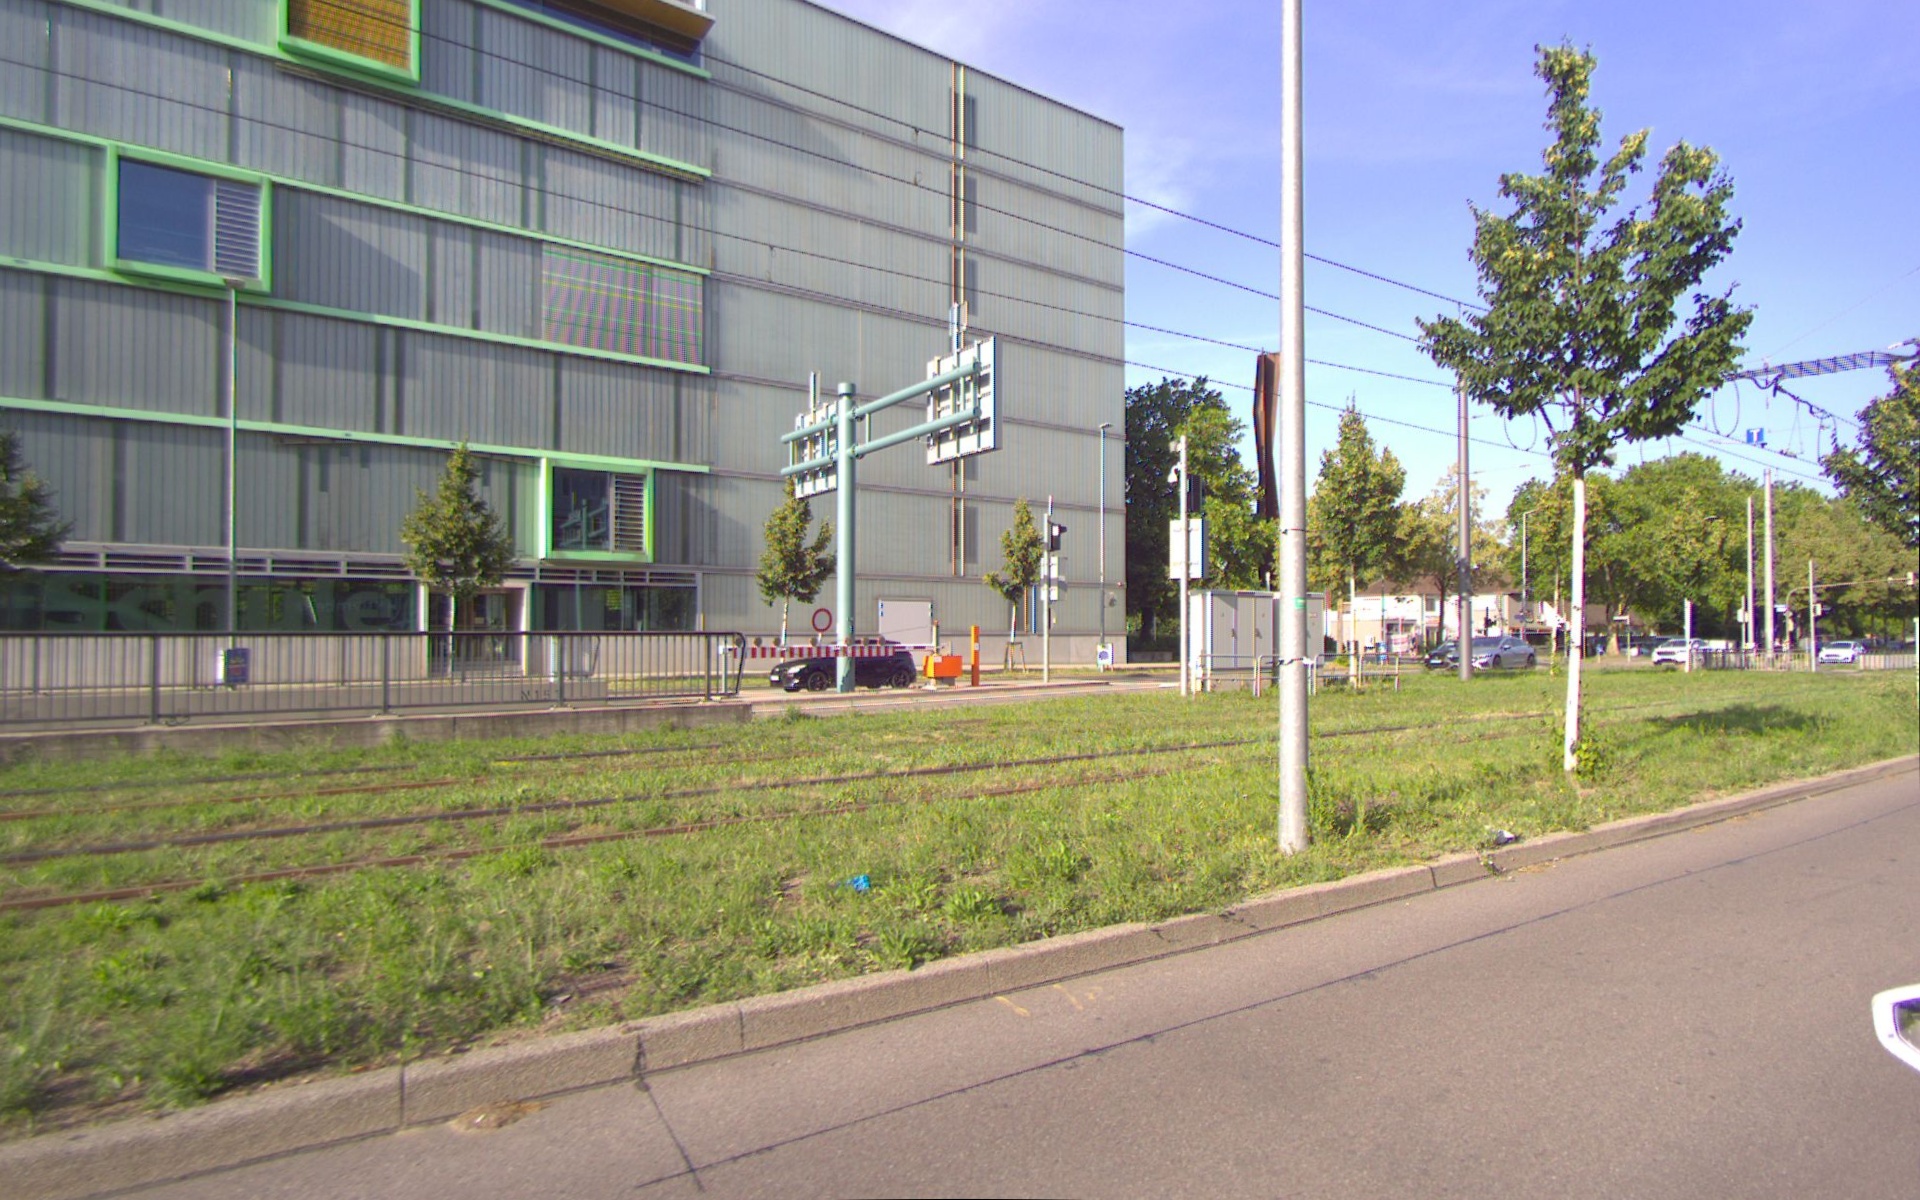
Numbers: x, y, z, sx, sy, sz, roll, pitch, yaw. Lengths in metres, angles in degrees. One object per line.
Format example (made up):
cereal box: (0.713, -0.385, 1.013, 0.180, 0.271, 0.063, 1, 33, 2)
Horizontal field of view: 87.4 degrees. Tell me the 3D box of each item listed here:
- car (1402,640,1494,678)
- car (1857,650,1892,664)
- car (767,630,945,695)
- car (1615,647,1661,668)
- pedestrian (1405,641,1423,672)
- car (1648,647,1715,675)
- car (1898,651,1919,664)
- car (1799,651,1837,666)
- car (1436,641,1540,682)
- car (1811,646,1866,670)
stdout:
car: (22.947, 2.739, 47.211, 4.571, 1.709, 1.980, 2, -2, -35)
car: (106.014, 6.595, 116.440, 3.952, 1.580, 1.873, 2, -3, -30)
car: (-2.907, 1.716, 28.562, 4.680, 1.709, 1.980, 2, -2, -35)
car: (60.496, 5.158, 89.654, 3.952, 1.773, 1.873, 2, -3, -30)
pedestrian: (31.465, 3.939, 69.635, 0.865, 2.135, 0.724, 0, -3, -5)
car: (43.115, 3.622, 60.002, 4.397, 1.548, 1.894, 2, -2, -35)
car: (116.666, 7.009, 122.712, 3.952, 1.580, 1.873, 2, -3, -30)
car: (93.443, 6.345, 109.376, 3.952, 1.580, 1.873, 2, -3, -30)
car: (21.504, 2.497, 40.833, 4.872, 1.547, 1.978, 2, -6, -40)
car: (58.801, 3.869, 67.206, 4.272, 1.548, 1.979, 2, -2, -37)
